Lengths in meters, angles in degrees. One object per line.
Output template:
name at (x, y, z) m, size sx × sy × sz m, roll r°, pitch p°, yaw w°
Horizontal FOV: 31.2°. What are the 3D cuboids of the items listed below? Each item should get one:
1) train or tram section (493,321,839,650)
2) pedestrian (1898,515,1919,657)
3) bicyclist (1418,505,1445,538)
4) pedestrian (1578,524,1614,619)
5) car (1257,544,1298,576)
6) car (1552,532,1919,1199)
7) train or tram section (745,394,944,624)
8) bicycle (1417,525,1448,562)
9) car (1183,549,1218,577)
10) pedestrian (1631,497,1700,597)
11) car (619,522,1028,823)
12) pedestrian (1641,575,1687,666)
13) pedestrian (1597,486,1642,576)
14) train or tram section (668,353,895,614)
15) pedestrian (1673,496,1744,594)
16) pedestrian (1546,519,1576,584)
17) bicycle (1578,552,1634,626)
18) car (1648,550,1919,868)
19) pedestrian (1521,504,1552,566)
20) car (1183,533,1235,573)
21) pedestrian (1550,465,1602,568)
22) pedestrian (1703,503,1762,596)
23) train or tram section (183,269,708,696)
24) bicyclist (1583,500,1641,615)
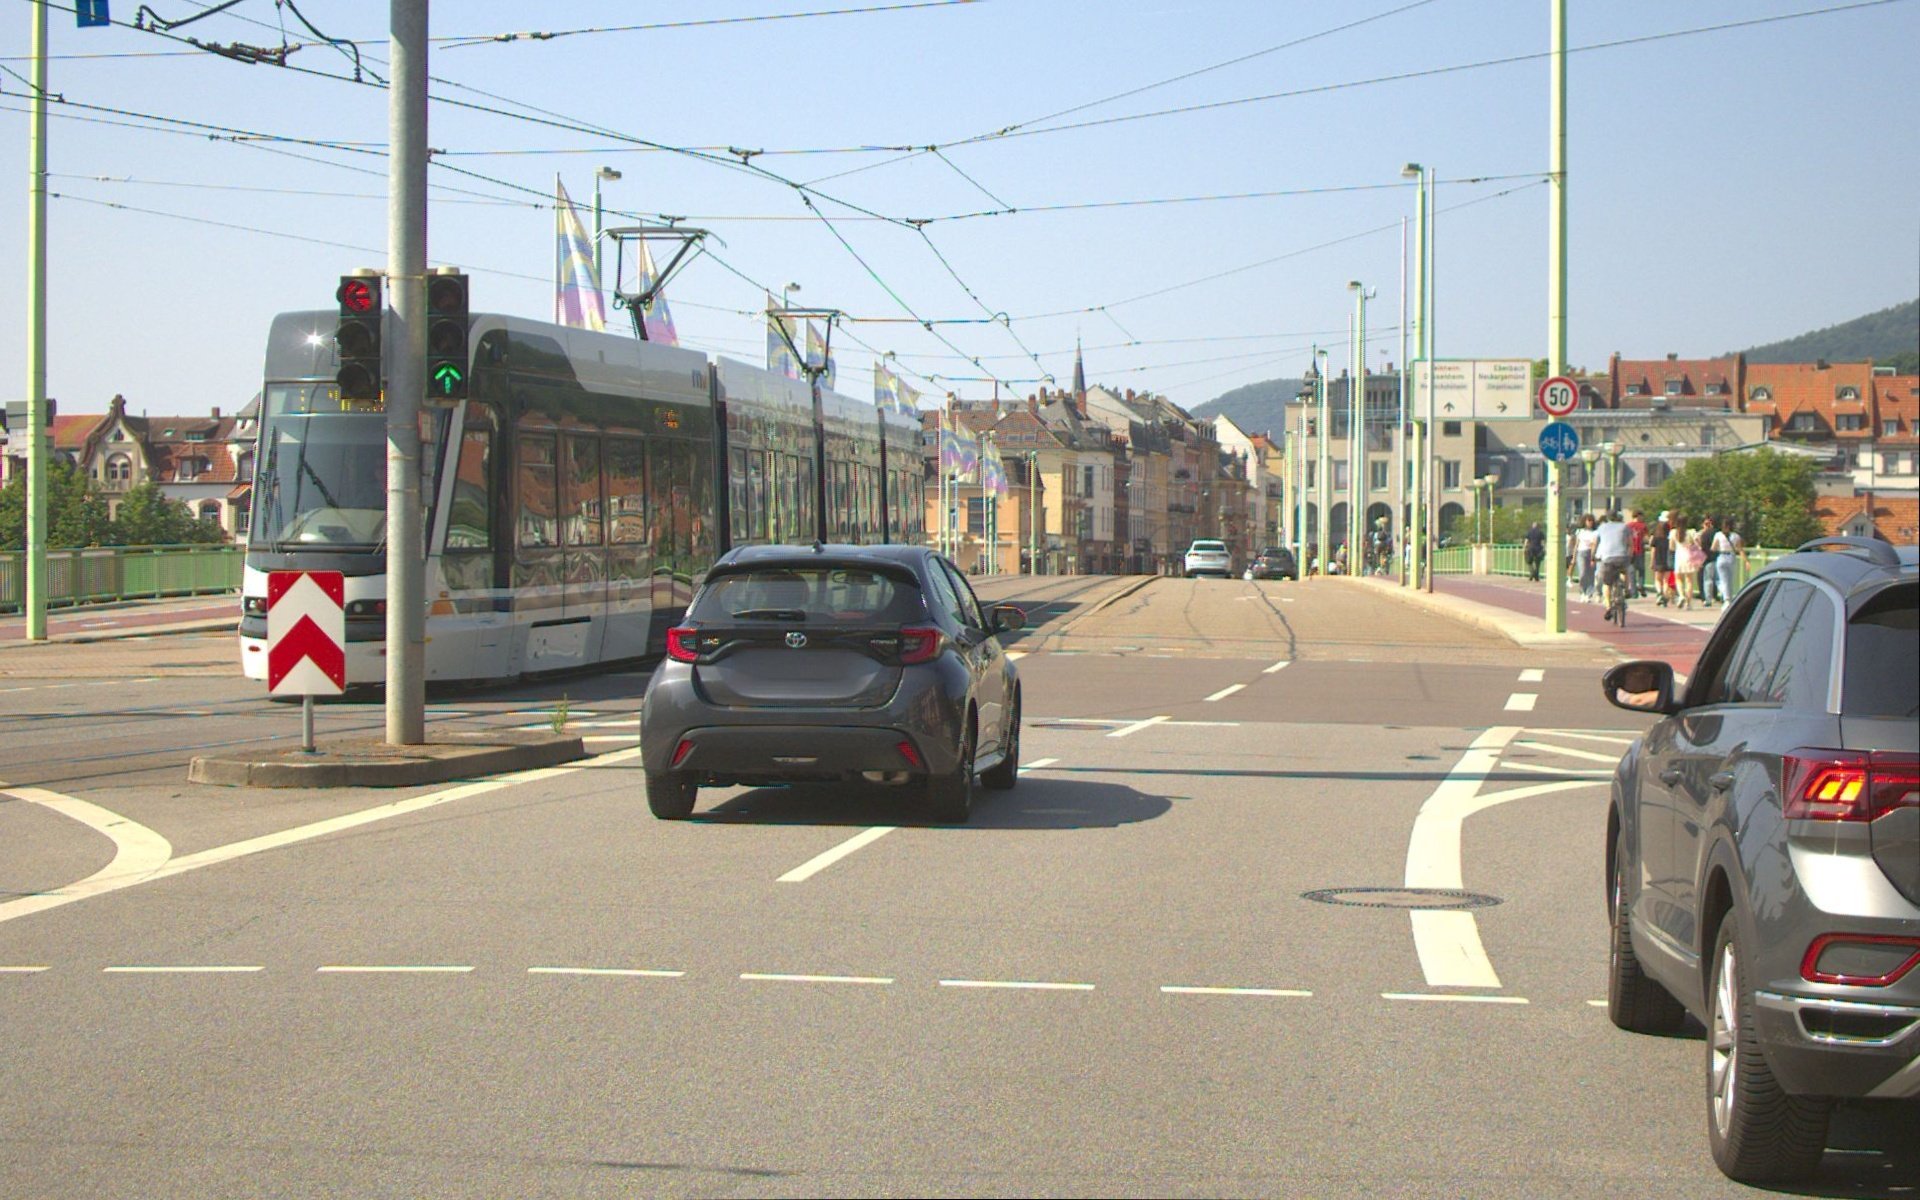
train or tram section at (-3.545, -1.446, 44.028) m, size 2.538 × 3.764 × 9.167 m, roll 0°, pitch 2°, yaw 7°
pedestrian at (12.807, -0.188, 45.249) m, size 0.774 × 1.849 × 0.644 m, roll 1°, pitch 2°, yaw 7°
bicyclist at (15.440, -2.576, 112.628) m, size 0.666 × 1.041 × 0.980 m, roll -3°, pitch 1°, yaw -2°
pedestrian at (12.163, -0.544, 65.749) m, size 0.549 × 1.793 × 0.646 m, roll 0°, pitch 0°, yaw -2°
car at (14.949, -1.867, 161.842) m, size 1.804 × 1.464 × 3.999 m, roll -1°, pitch 0°, yaw 6°
car at (2.774, 0.581, 9.238) m, size 1.930 × 1.510 × 3.993 m, roll 0°, pitch 1°, yaw 4°
train or tram section at (-1.920, -1.668, 62.244) m, size 2.470 × 3.764 × 11.849 m, roll 0°, pitch 2°, yaw 4°
bicycle at (15.474, -1.852, 112.707) m, size 0.695 × 1.189 × 2.079 m, roll 0°, pitch 0°, yaw -1°
car at (14.643, -2.262, 209.413) m, size 1.993 × 1.711 × 4.000 m, roll 0°, pitch 1°, yaw 2°
pedestrian at (12.438, -0.935, 60.627) m, size 0.985 × 1.744 × 0.930 m, roll 0°, pitch 0°, yaw -2°
car at (-0.667, 0.324, 19.696) m, size 1.910 × 1.535 × 4.000 m, roll 0°, pitch 1°, yaw 4°
pedestrian at (12.881, 0.361, 62.907) m, size 0.654 × 1.644 × 0.868 m, roll 0°, pitch 0°, yaw -1°
pedestrian at (12.731, -1.330, 66.384) m, size 0.695 × 1.710 × 0.732 m, roll 0°, pitch 0°, yaw -2°
train or tram section at (-2.607, -1.784, 53.213) m, size 2.404 × 3.668 × 9.619 m, roll 0°, pitch 2°, yaw 4°
pedestrian at (13.576, -1.003, 62.387) m, size 0.985 × 1.763 × 1.254 m, roll -1°, pitch 1°, yaw -2°
pedestrian at (14.617, -1.190, 83.571) m, size 0.650 × 1.557 × 0.692 m, roll -1°, pitch 1°, yaw 6°
bicycle at (10.112, -0.192, 53.897) m, size 0.792 × 1.092 × 3.743 m, roll 0°, pitch 1°, yaw 9°
car at (5.095, 0.521, 19.083) m, size 1.994 × 1.485 × 4.284 m, roll 2°, pitch 2°, yaw 5°
pedestrian at (16.445, -1.866, 98.091) m, size 0.654 × 1.737 × 0.978 m, roll 0°, pitch 2°, yaw -2°
car at (9.643, -1.805, 133.363) m, size 1.804 × 1.464 × 4.000 m, roll -1°, pitch 0°, yaw 1°
pedestrian at (12.158, -1.635, 67.858) m, size 0.803 × 2.007 × 0.954 m, roll 0°, pitch 0°, yaw -2°
pedestrian at (13.567, -0.889, 60.402) m, size 0.799 × 1.629 × 0.950 m, roll 0°, pitch 1°, yaw -2°
train or tram section at (-4.921, -1.168, 35.108) m, size 2.538 × 3.764 × 9.166 m, roll 0°, pitch 2°, yaw 10°
bicyclist at (9.973, -0.648, 52.616) m, size 0.673 × 1.738 × 1.150 m, roll 0°, pitch 1°, yaw 0°
